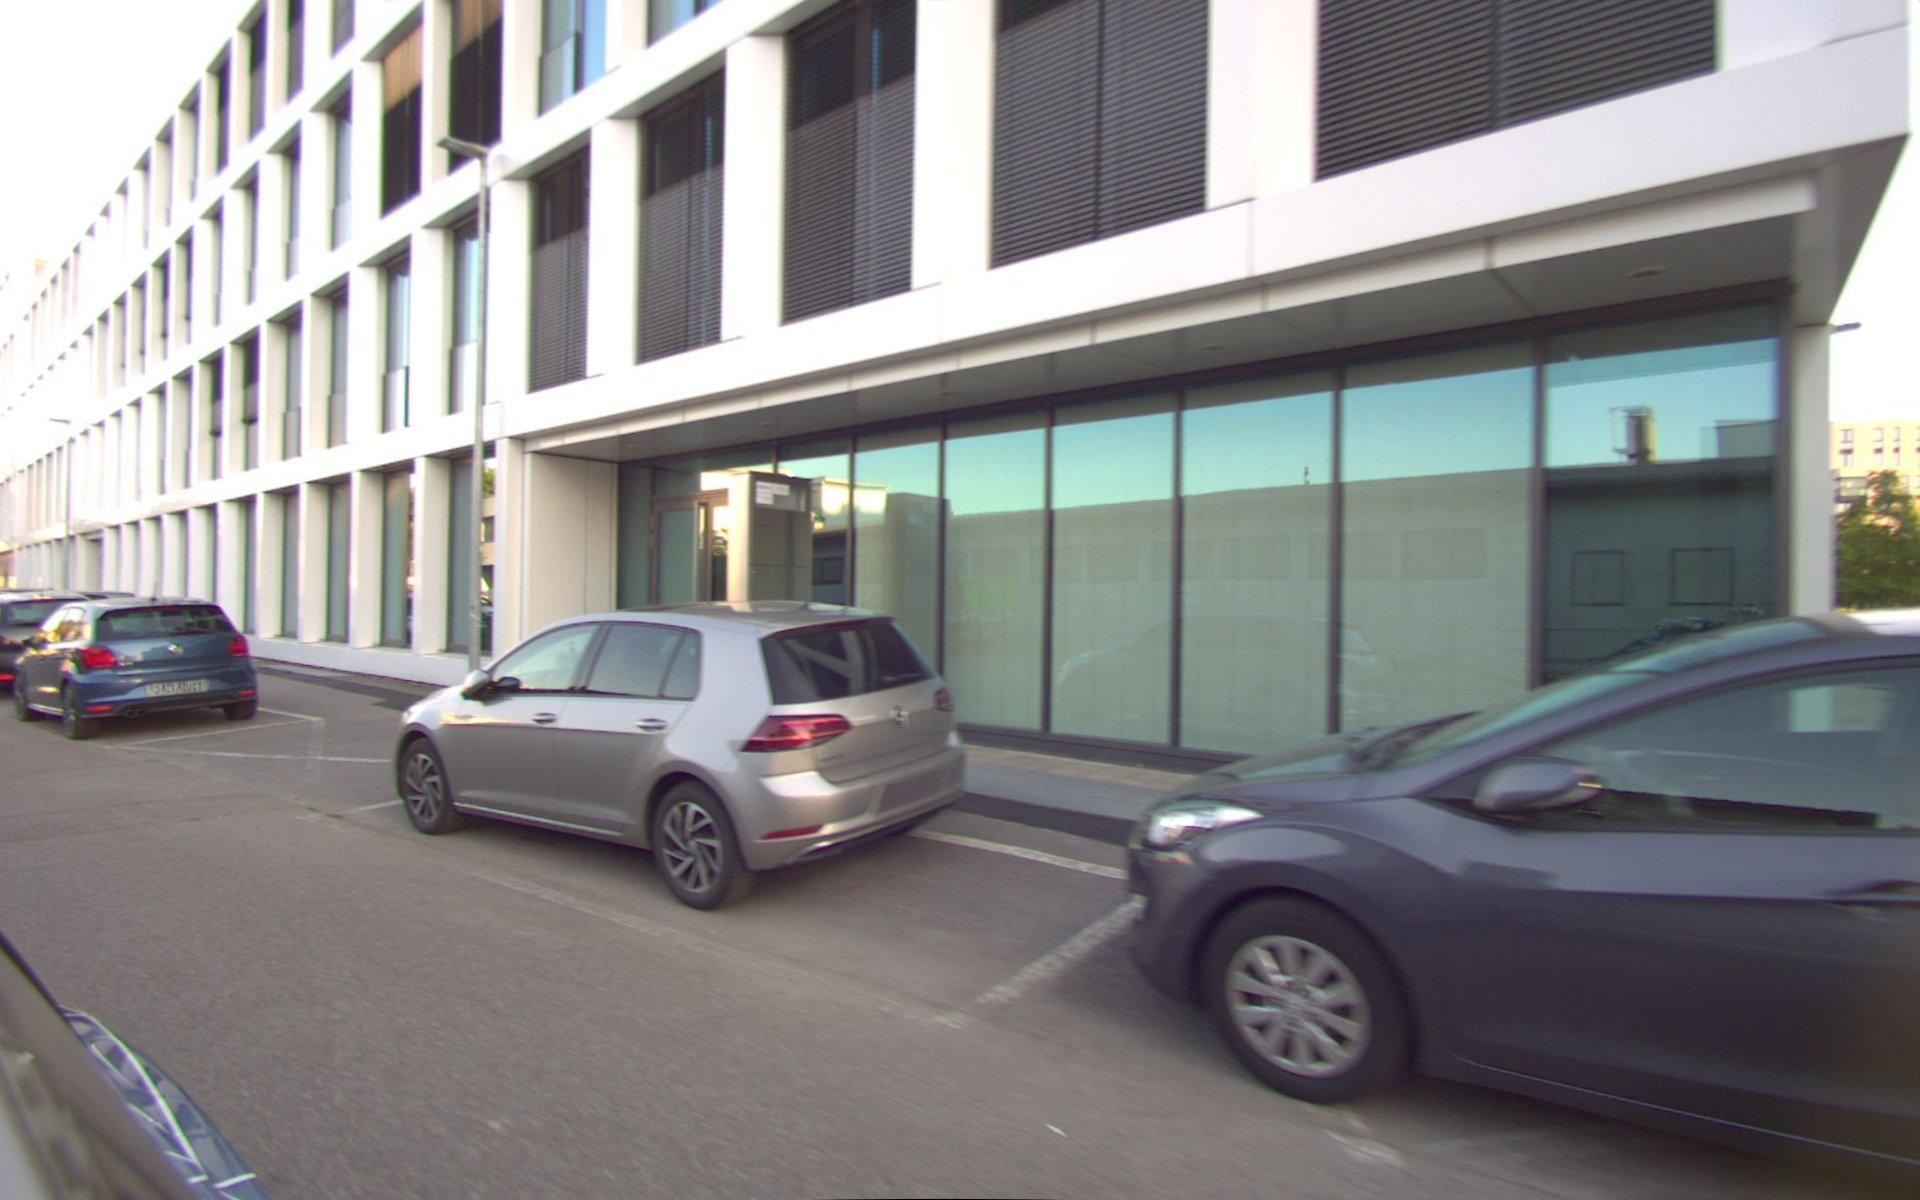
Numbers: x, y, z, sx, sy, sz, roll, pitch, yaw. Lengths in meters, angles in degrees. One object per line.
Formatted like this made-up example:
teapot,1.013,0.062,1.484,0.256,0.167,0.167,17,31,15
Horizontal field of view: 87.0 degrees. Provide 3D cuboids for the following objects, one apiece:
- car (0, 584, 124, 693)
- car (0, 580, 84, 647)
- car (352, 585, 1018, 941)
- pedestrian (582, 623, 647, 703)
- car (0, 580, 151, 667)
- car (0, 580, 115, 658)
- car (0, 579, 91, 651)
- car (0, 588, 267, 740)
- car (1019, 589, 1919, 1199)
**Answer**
car,-14.484,0.524,15.607,4.197,1.449,1.632,0,2,39
car,-22.954,0.316,23.372,1.795,1.523,3.923,-1,-1,41
car,-1.865,0.695,6.257,4.175,1.490,1.695,0,2,35
pedestrian,-4.605,0.829,13.496,0.630,1.026,0.580,0,-1,44
car,-17.323,0.422,18.373,1.686,1.523,3.886,-1,-1,40
car,-19.260,0.371,20.070,1.686,1.523,3.617,-1,-1,40
car,-21.051,0.319,21.574,1.686,1.523,3.617,-1,-1,40
car,-9.910,0.623,11.911,4.178,1.449,1.633,0,2,37
car,2.443,0.716,2.949,4.325,1.490,1.763,0,0,38
